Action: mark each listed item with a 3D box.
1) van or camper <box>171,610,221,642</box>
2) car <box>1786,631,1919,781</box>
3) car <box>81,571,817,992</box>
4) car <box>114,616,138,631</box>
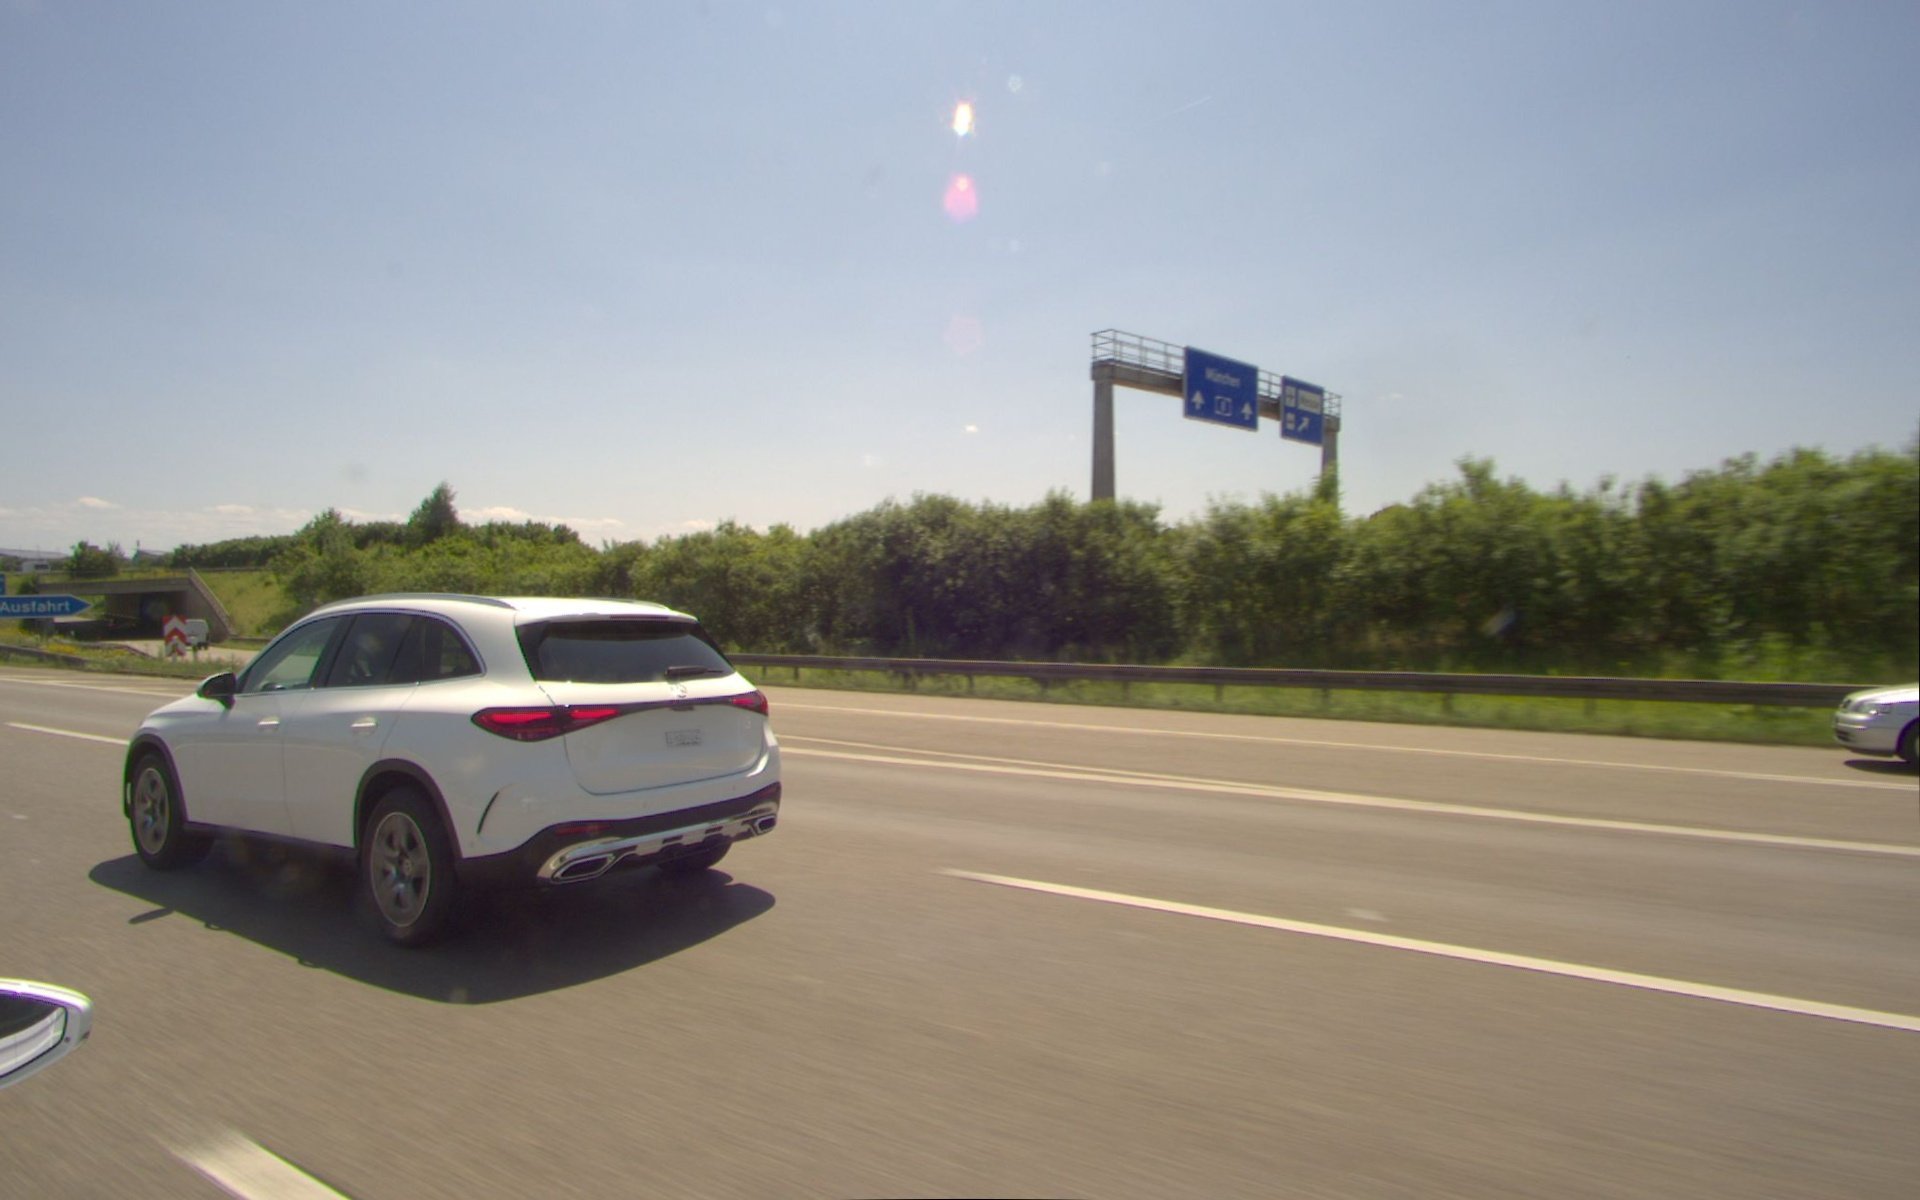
[{"bbox_3d":[-51.637,1.762,67.663,4.261,2.039,2.143,-2,-2,45],"label":"van or camper"},{"bbox_3d":[11.160,1.028,9.678,4.786,1.456,1.780,-2,-2,37],"label":"car"},{"bbox_3d":[-3.361,0.805,6.150,4.930,1.668,1.894,-2,-2,34],"label":"car"},{"bbox_3d":[-102.158,2.849,122.689,1.981,1.772,3.962,0,-2,-44],"label":"car"}]
